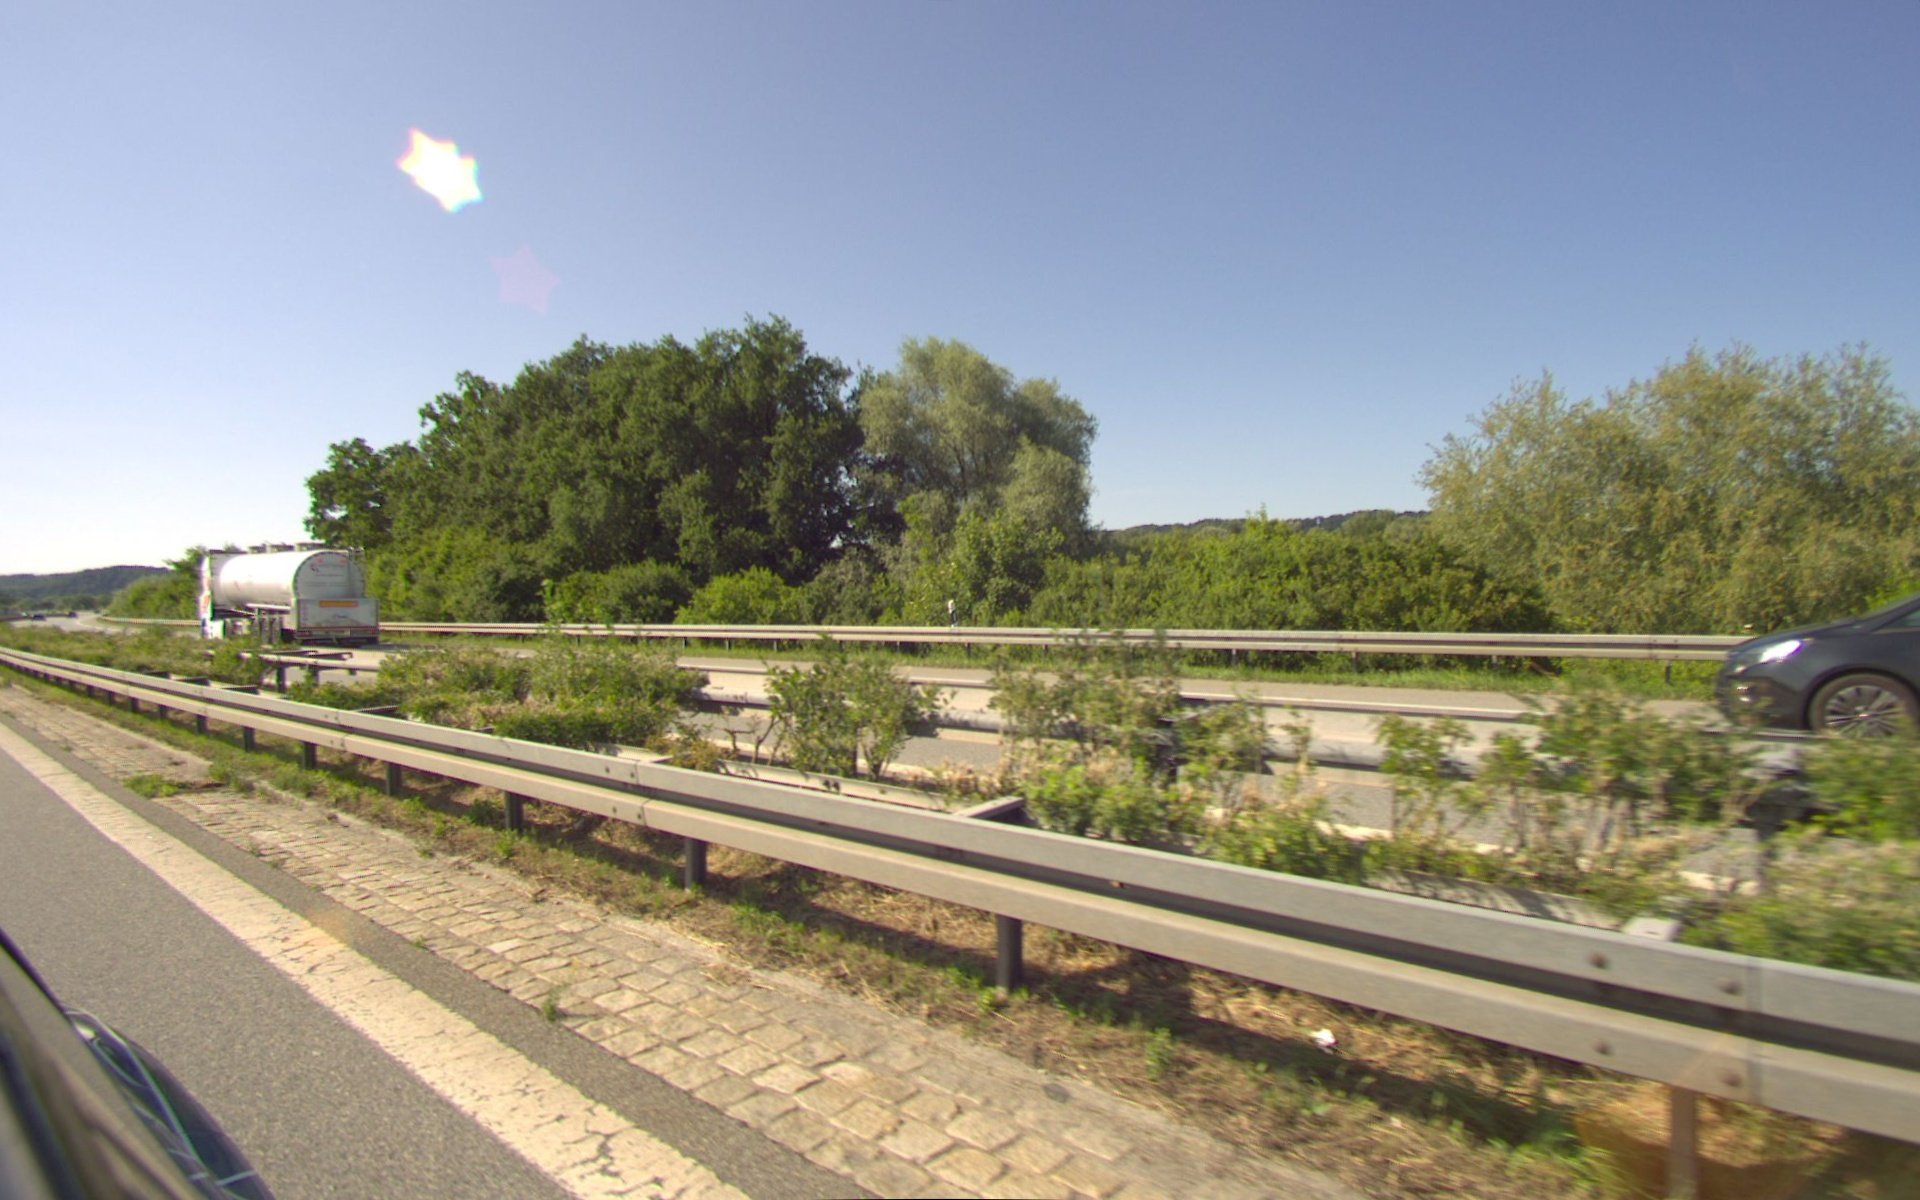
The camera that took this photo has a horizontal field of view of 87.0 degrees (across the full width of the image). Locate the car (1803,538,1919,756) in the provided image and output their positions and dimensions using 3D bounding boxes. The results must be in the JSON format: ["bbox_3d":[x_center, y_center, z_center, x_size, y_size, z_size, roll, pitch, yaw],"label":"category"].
[{"bbox_3d":[8.724,0.326,6.996,4.416,1.566,1.973,-1,-2,40],"label":"car"}]

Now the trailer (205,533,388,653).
[{"bbox_3d":[-23.968,-0.117,36.200,10.908,3.755,2.712,-1,-1,41],"label":"trailer"}]

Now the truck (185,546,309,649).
[{"bbox_3d":[-28.265,-0.026,40.031,5.969,3.755,2.712,-1,-1,41],"label":"truck"}]

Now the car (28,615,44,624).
[{"bbox_3d":[-150.931,3.147,165.332,1.707,1.439,3.887,1,-1,-41],"label":"car"}]
